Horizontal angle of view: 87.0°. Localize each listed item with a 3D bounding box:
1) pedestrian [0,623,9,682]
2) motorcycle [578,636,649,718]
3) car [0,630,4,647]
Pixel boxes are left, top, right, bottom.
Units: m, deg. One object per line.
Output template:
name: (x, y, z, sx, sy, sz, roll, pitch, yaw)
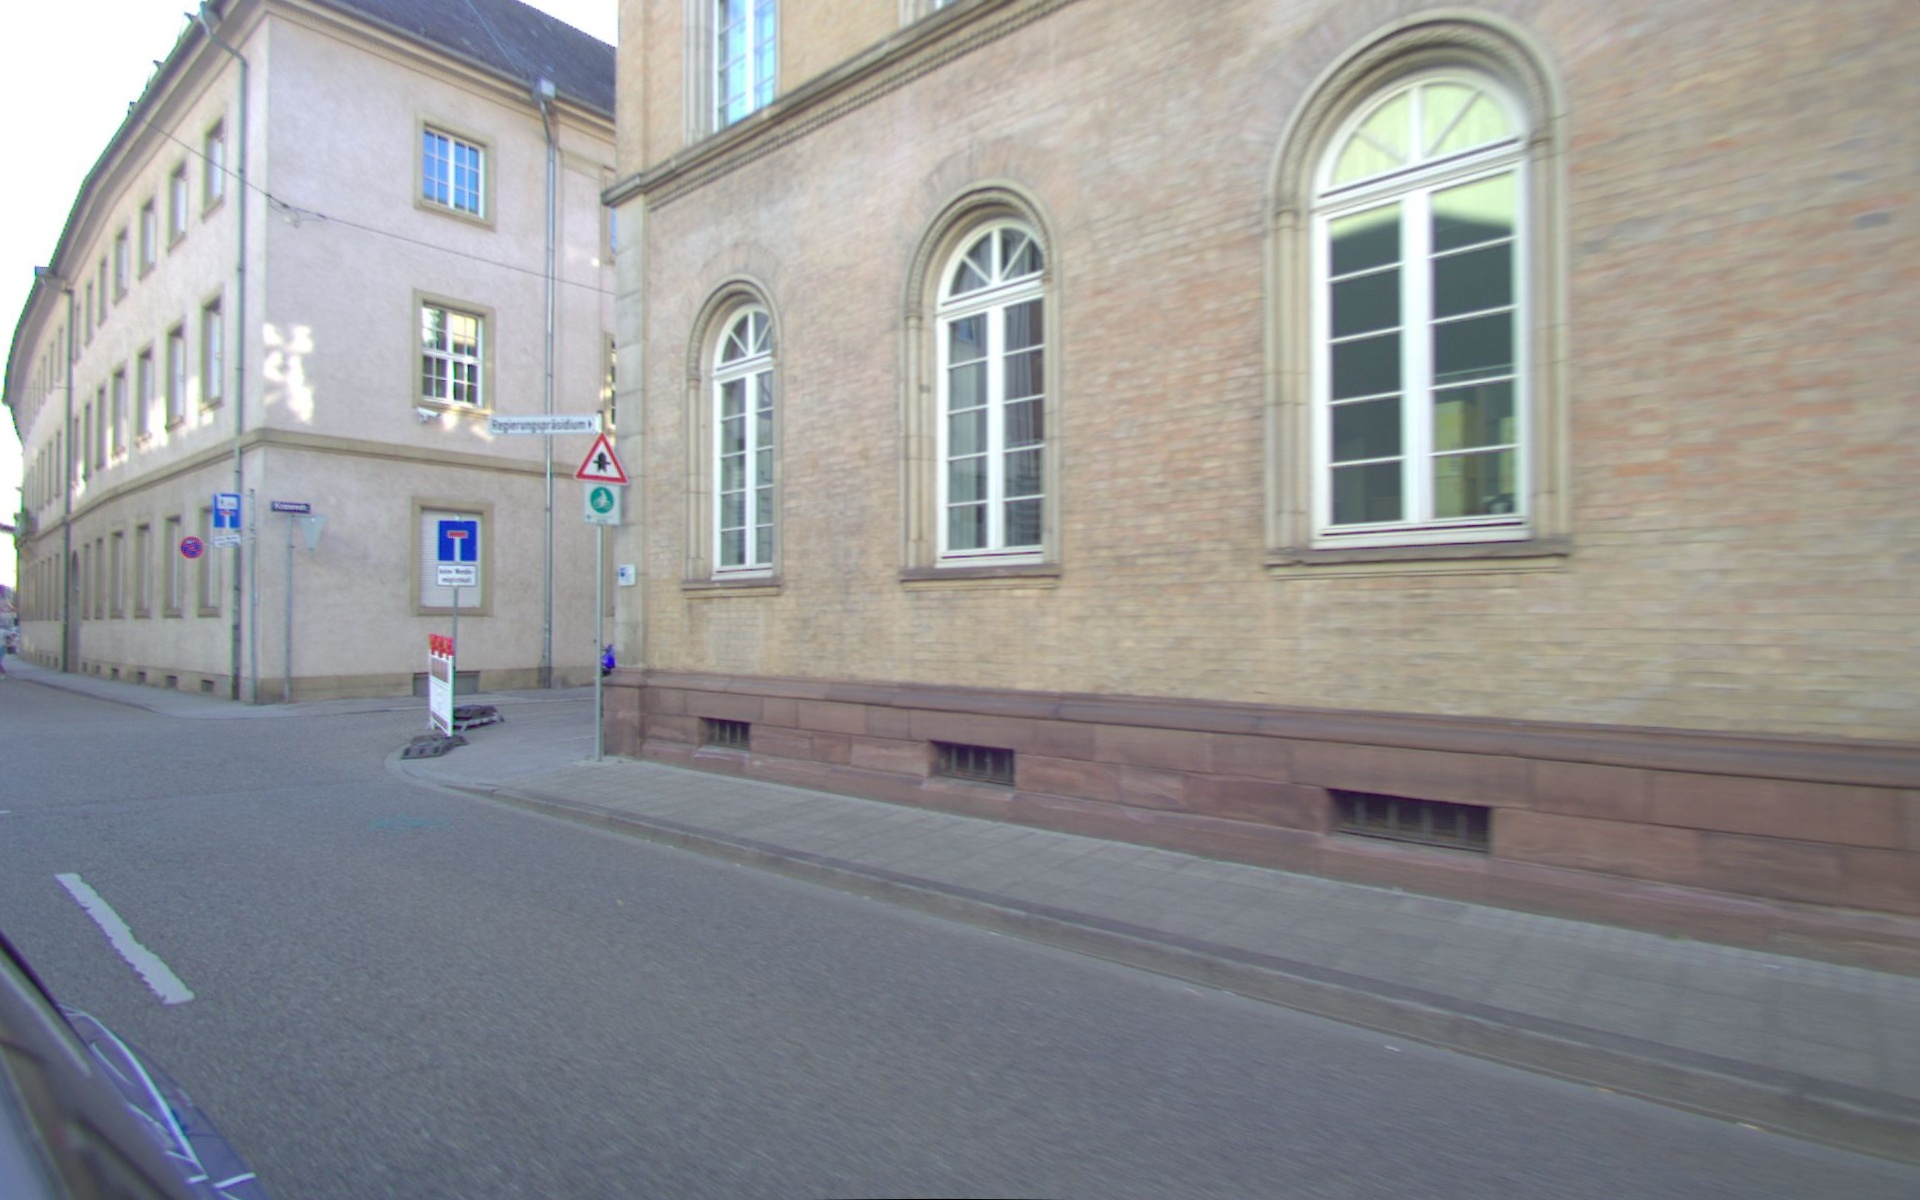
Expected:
pedestrian: (-28.136, 1.530, 29.395, 0.875, 1.682, 0.685, -1, 0, 44)
motorcycle: (-5.499, 1.183, 16.170, 0.578, 1.182, 2.287, -3, -2, -8)
car: (-91.015, 3.643, 94.491, 1.747, 1.595, 3.867, -5, 1, -32)
